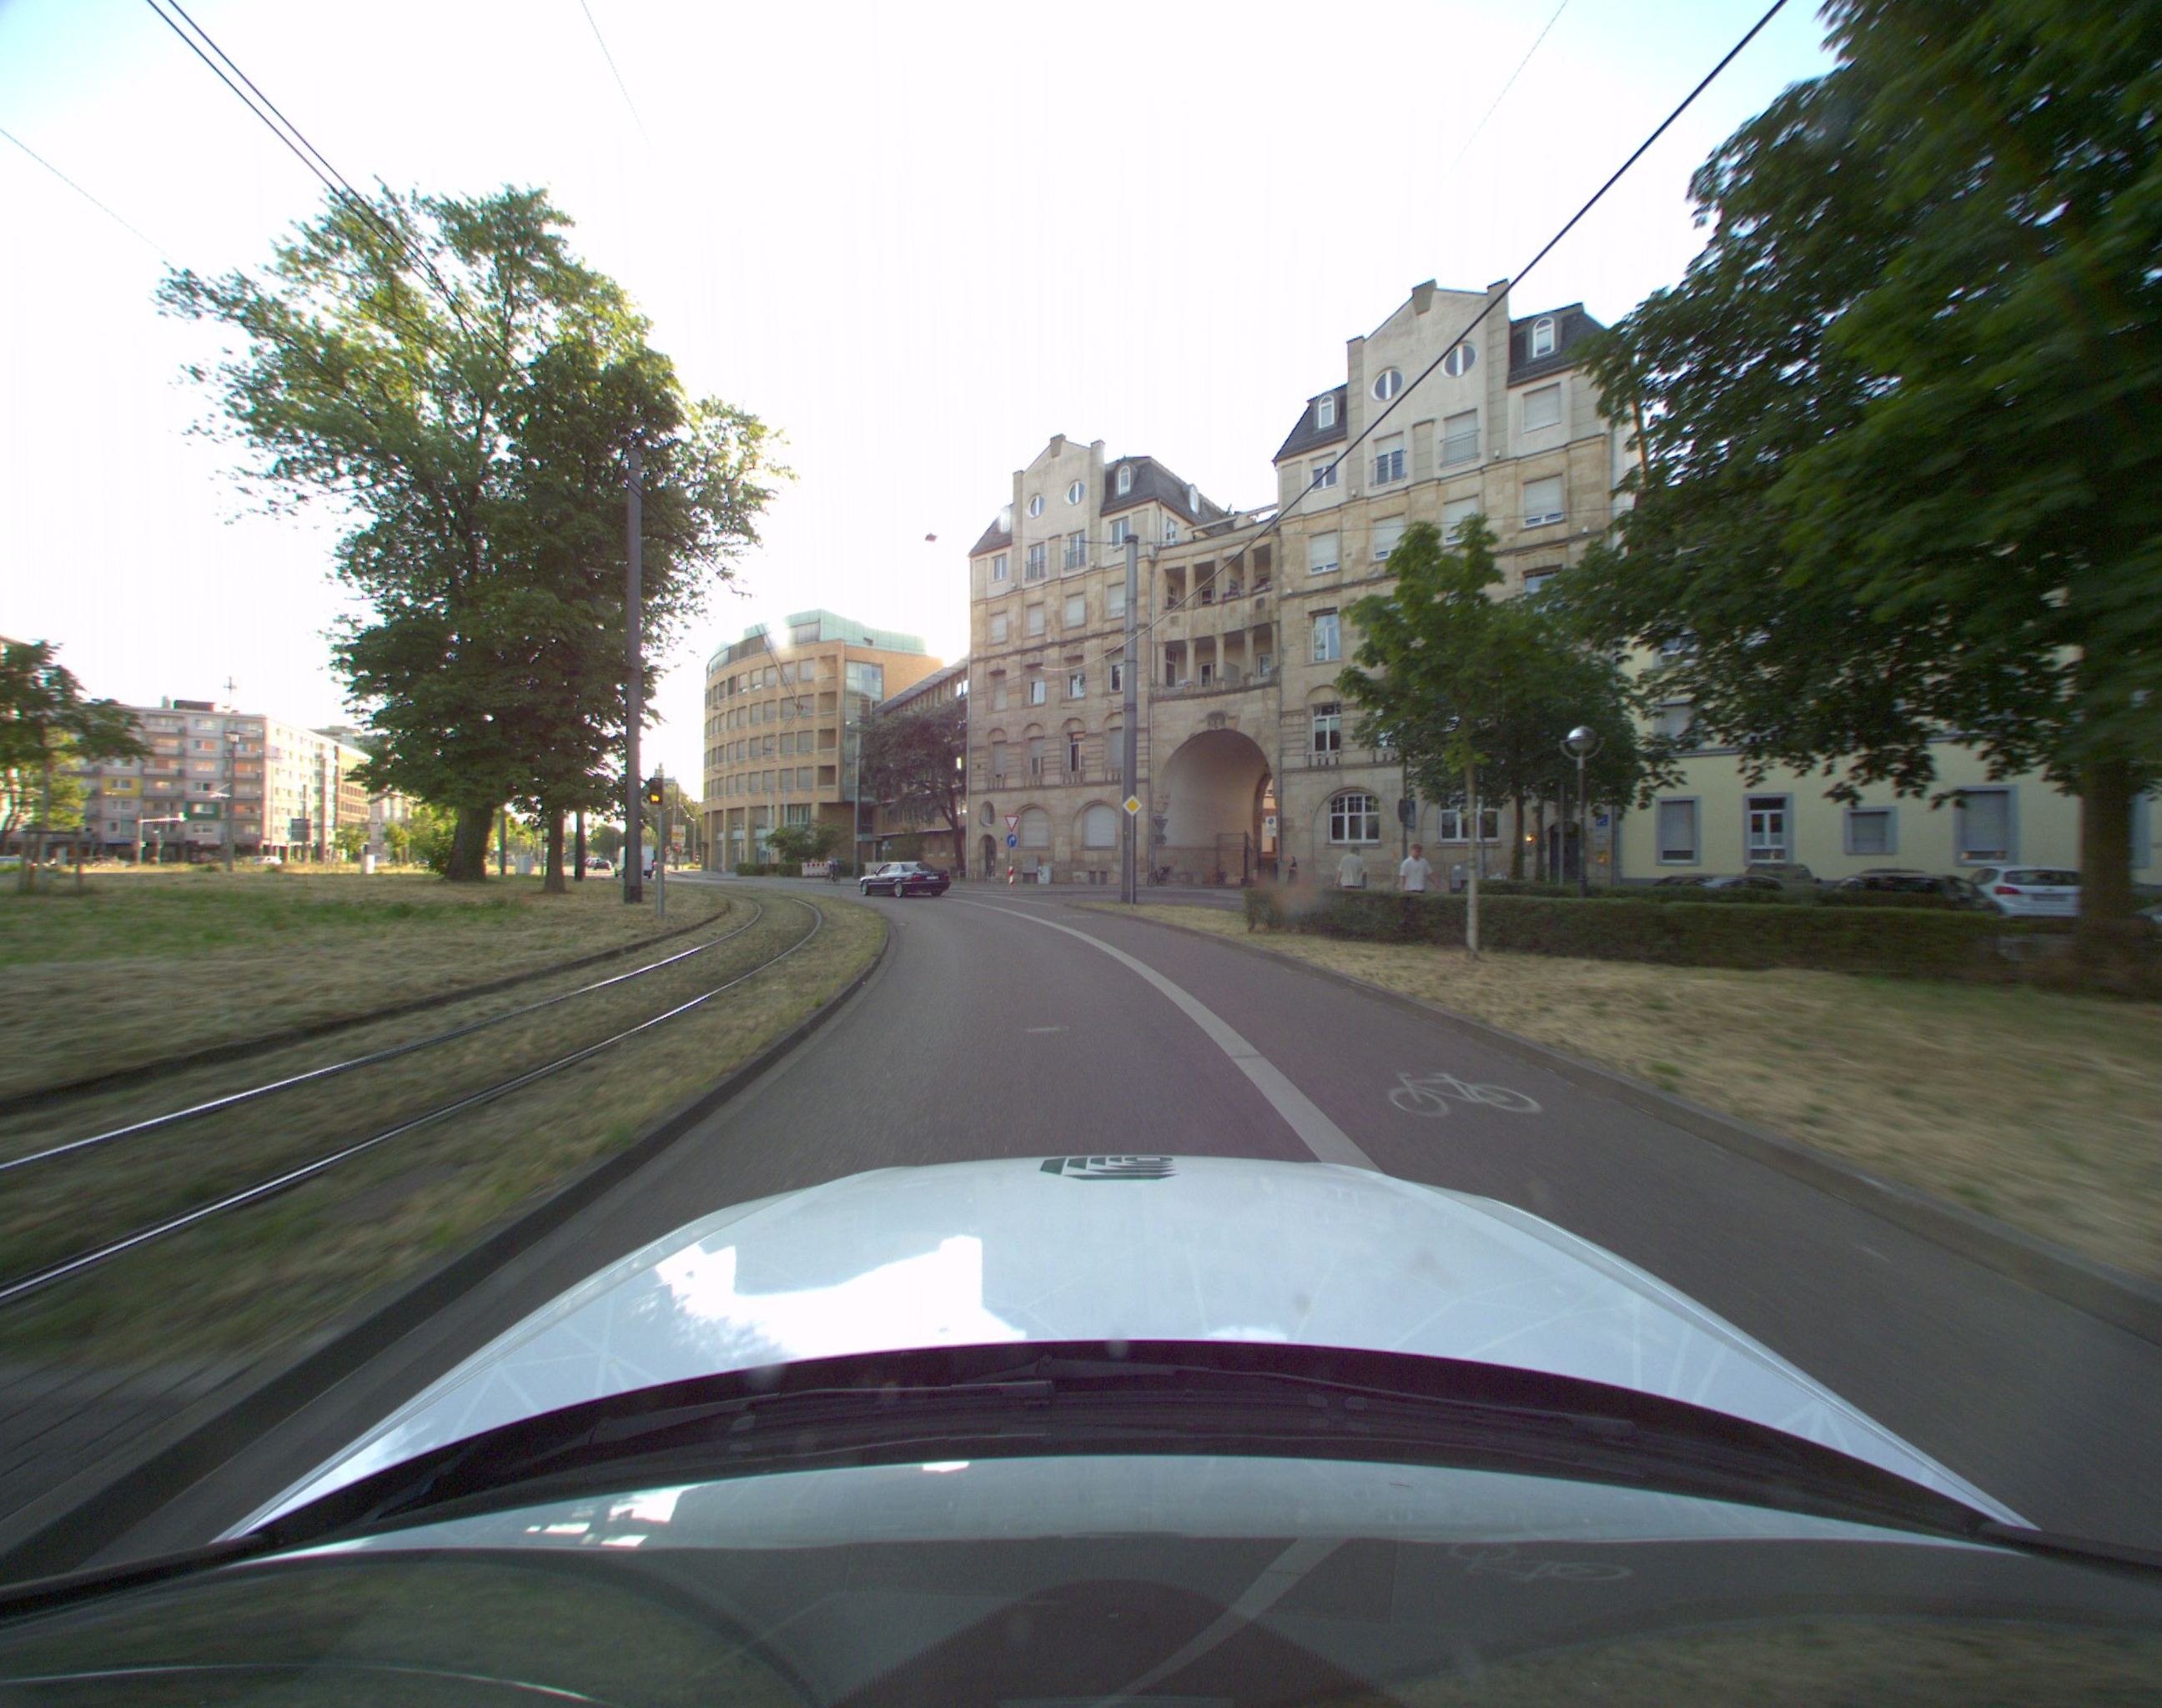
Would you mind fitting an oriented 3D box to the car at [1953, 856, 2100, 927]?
[{"bbox_3d":[23.988,0.863,20.829,1.814,1.570,4.094,1,1,40],"label":"car"}]

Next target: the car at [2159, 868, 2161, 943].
[{"bbox_3d":[22.621,1.049,14.297,4.082,1.482,1.833,1,1,34],"label":"car"}]

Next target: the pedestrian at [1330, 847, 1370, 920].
[{"bbox_3d":[6.808,0.727,20.643,0.592,1.792,0.816,0,0,-20],"label":"pedestrian"}]

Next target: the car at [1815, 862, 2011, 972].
[{"bbox_3d":[14.337,0.946,13.974,4.087,1.556,1.845,0,1,-37],"label":"car"}]

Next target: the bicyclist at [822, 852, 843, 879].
[{"bbox_3d":[-14.014,0.627,45.906,0.661,1.484,1.025,4,-3,-45],"label":"bicyclist"}]

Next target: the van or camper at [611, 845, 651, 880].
[{"bbox_3d":[-35.747,0.649,64.626,2.280,2.625,4.454,0,0,-35],"label":"van or camper"}]

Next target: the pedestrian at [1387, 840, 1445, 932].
[{"bbox_3d":[6.443,0.598,15.691,0.766,1.715,0.784,0,0,-6],"label":"pedestrian"}]

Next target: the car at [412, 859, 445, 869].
[{"bbox_3d":[-104.972,1.660,131.067,1.697,1.434,4.023,2,0,45],"label":"car"}]

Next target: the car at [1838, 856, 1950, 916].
[{"bbox_3d":[22.918,0.835,23.106,1.814,1.485,4.094,1,1,39],"label":"car"}]

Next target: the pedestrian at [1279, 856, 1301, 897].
[{"bbox_3d":[8.778,0.934,34.185,0.712,1.709,0.581,1,0,41],"label":"pedestrian"}]

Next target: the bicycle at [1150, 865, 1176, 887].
[{"bbox_3d":[4.253,1.121,42.272,0.424,1.073,1.868,1,0,37],"label":"bicycle"}]

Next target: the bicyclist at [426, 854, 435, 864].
[{"bbox_3d":[-103.826,0.806,129.923,0.654,1.442,0.861,2,-1,34],"label":"bicyclist"}]

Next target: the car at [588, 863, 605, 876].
[{"bbox_3d":[-58.866,1.869,98.965,1.748,1.386,3.962,0,1,-30],"label":"car"}]

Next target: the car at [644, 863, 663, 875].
[{"bbox_3d":[-52.829,1.836,100.677,1.795,1.354,4.224,2,-1,-31],"label":"car"}]

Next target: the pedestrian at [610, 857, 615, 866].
[{"bbox_3d":[-75.829,1.226,131.833,0.619,1.475,0.793,0,0,-26],"label":"pedestrian"}]

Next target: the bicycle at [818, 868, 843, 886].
[{"bbox_3d":[-14.154,1.272,46.030,1.753,0.955,0.519,1,-2,45],"label":"bicycle"}]

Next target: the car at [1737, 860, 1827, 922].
[{"bbox_3d":[20.185,0.993,23.573,1.814,1.558,4.427,1,1,39],"label":"car"}]

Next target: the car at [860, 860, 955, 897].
[{"bbox_3d":[-7.063,0.952,32.762,1.845,1.354,4.587,-1,-1,-39],"label":"car"}]

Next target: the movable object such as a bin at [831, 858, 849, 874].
[{"bbox_3d":[-22.171,1.082,74.896,1.351,1.424,0.914,0,0,-38],"label":"movable object such as a bin"}]

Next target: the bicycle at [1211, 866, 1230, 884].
[{"bbox_3d":[8.076,1.203,47.089,0.475,0.955,1.522,1,0,37],"label":"bicycle"}]

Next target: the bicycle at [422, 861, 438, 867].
[{"bbox_3d":[-103.834,1.567,129.932,0.695,0.970,1.745,2,-1,35],"label":"bicycle"}]

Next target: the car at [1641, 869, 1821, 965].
[{"bbox_3d":[12.911,1.128,16.101,4.087,1.556,1.845,0,1,-37],"label":"car"}]

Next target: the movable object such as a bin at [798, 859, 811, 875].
[{"bbox_3d":[-25.107,1.206,73.968,0.971,1.437,1.340,0,0,-11],"label":"movable object such as a bin"}]
